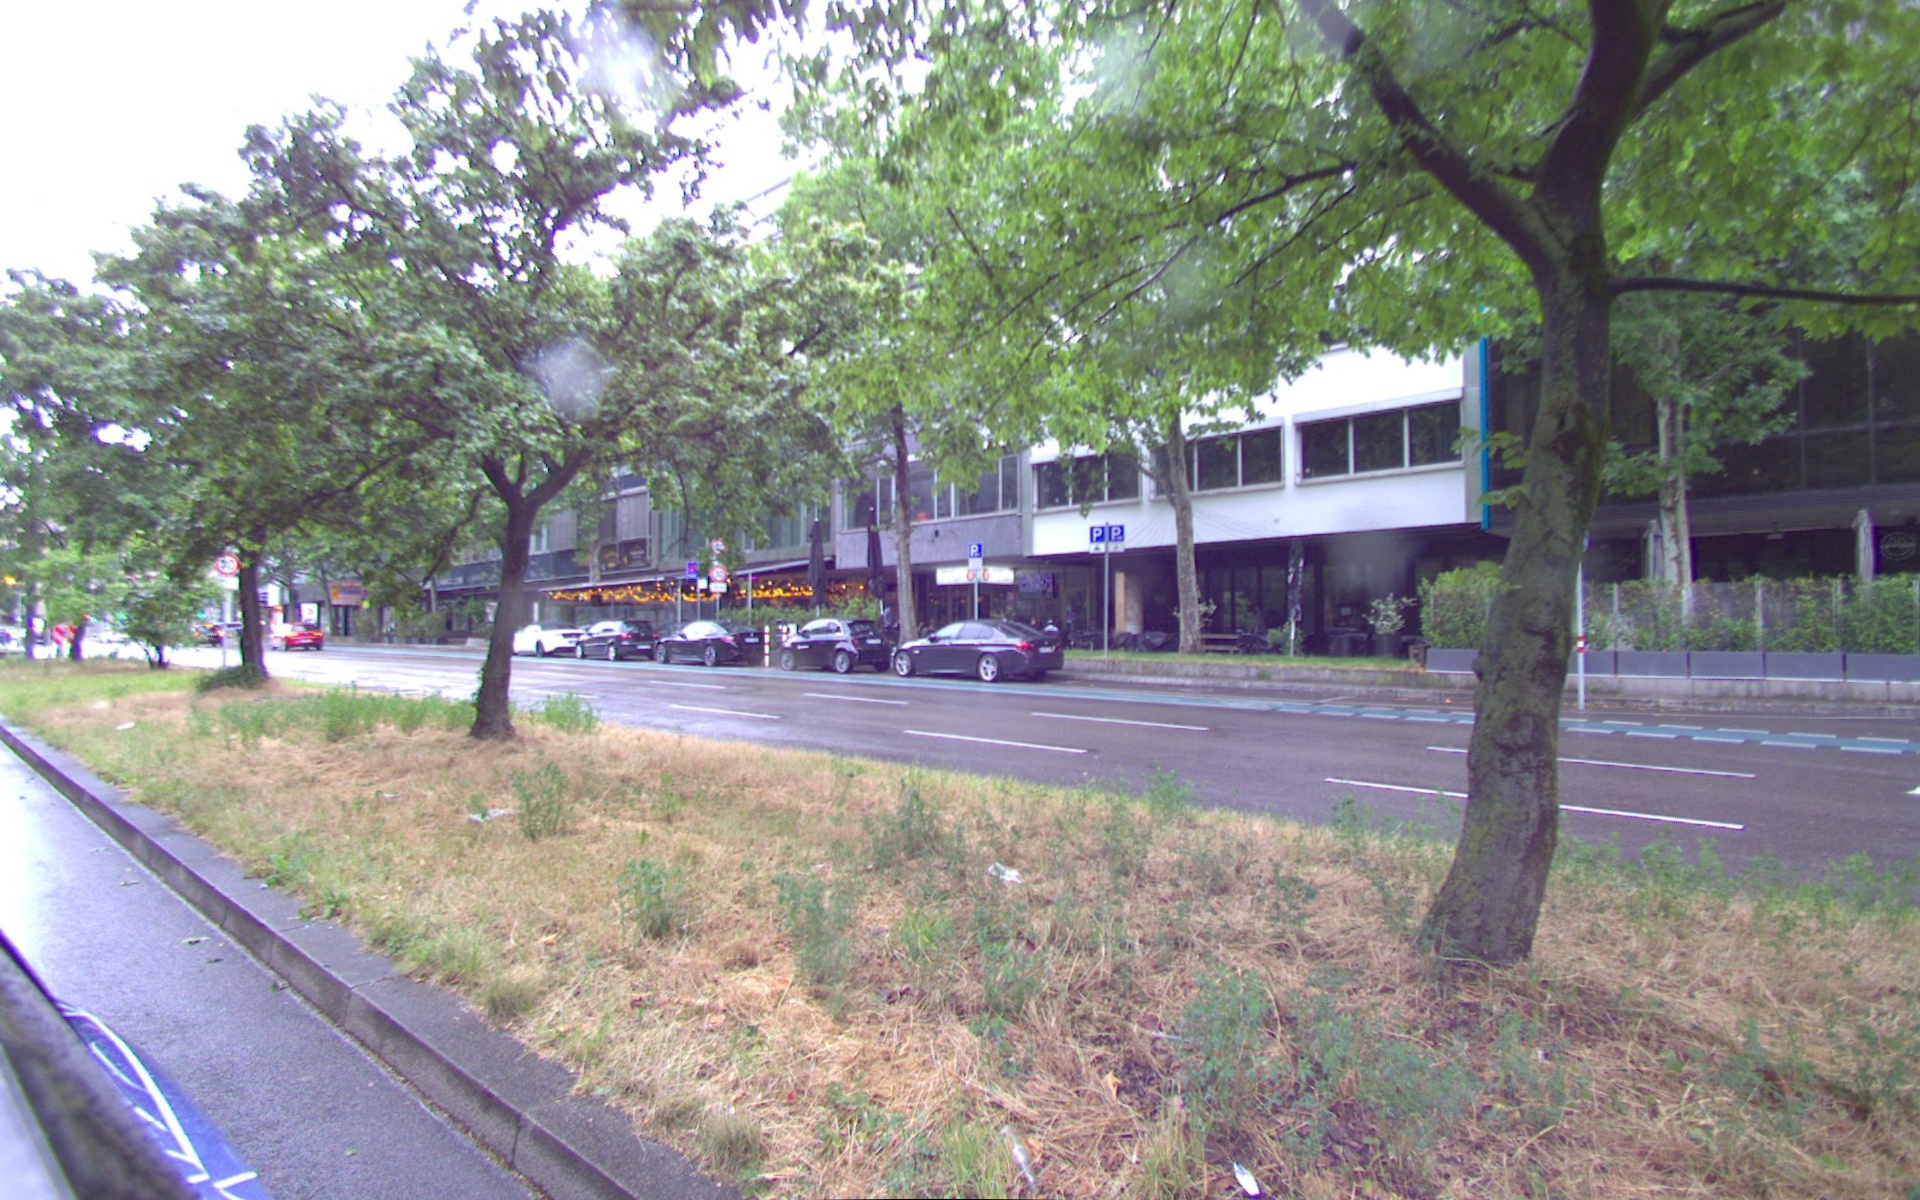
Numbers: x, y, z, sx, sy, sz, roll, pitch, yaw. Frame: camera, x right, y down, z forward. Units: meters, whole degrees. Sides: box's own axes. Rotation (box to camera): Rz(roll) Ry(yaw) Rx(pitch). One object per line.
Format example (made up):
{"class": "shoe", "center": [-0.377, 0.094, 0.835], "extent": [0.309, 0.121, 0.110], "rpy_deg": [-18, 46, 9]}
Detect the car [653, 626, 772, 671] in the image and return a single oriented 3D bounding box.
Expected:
{"class": "car", "center": [-7.993, 1.501, 32.420], "extent": [4.319, 1.249, 1.625], "rpy_deg": [0, 0, 44]}

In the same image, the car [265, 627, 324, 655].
{"class": "car", "center": [-35.094, 2.137, 53.357], "extent": [3.737, 1.335, 1.742], "rpy_deg": [0, 0, 42]}

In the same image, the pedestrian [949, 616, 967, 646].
{"class": "pedestrian", "center": [-0.066, 1.085, 35.432], "extent": [0.423, 1.024, 0.459], "rpy_deg": [-1, 0, 39]}

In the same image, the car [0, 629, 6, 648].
{"class": "car", "center": [-81.627, 3.246, 85.103], "extent": [3.820, 1.588, 1.856], "rpy_deg": [0, 0, 44]}

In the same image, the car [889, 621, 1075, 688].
{"class": "car", "center": [0.441, 1.257, 24.744], "extent": [1.849, 1.396, 4.539], "rpy_deg": [-1, 0, -45]}

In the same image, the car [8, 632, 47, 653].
{"class": "car", "center": [-69.726, 3.142, 75.668], "extent": [3.524, 1.400, 1.657], "rpy_deg": [-1, 0, 39]}

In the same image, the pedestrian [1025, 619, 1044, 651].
{"class": "pedestrian", "center": [2.436, 1.148, 33.182], "extent": [0.488, 1.008, 0.481], "rpy_deg": [-1, 0, 26]}

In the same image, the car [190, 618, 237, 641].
{"class": "car", "center": [-49.814, 1.971, 67.512], "extent": [4.106, 1.427, 1.843], "rpy_deg": [0, 0, 44]}

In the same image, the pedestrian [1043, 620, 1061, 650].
{"class": "pedestrian", "center": [3.003, 1.139, 32.921], "extent": [0.451, 0.970, 0.454], "rpy_deg": [-1, 0, 26]}

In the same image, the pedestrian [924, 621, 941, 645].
{"class": "pedestrian", "center": [-0.983, 1.183, 36.460], "extent": [0.433, 0.856, 0.435], "rpy_deg": [-1, 0, 39]}

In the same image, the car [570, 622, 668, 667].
{"class": "car", "center": [-12.288, 1.545, 36.393], "extent": [3.788, 1.464, 1.727], "rpy_deg": [0, 0, 42]}

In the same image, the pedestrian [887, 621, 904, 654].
{"class": "pedestrian", "center": [-2.395, 1.391, 37.421], "extent": [0.465, 1.195, 0.441], "rpy_deg": [-1, 0, 32]}

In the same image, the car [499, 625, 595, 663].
{"class": "car", "center": [-16.509, 1.727, 40.404], "extent": [4.392, 1.336, 1.856], "rpy_deg": [0, 0, 42]}

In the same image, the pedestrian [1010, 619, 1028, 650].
{"class": "pedestrian", "center": [1.956, 1.143, 33.498], "extent": [0.461, 1.000, 0.455], "rpy_deg": [-1, 0, 26]}

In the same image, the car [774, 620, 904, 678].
{"class": "car", "center": [-3.407, 1.325, 28.304], "extent": [3.400, 1.433, 1.851], "rpy_deg": [0, 0, 42]}

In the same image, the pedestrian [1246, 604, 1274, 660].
{"class": "pedestrian", "center": [9.085, 0.964, 30.646], "extent": [0.623, 1.660, 0.598], "rpy_deg": [-1, 0, 37]}

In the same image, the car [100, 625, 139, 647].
{"class": "car", "center": [-72.457, 3.077, 87.221], "extent": [3.997, 1.829, 1.973], "rpy_deg": [-1, 0, 41]}
